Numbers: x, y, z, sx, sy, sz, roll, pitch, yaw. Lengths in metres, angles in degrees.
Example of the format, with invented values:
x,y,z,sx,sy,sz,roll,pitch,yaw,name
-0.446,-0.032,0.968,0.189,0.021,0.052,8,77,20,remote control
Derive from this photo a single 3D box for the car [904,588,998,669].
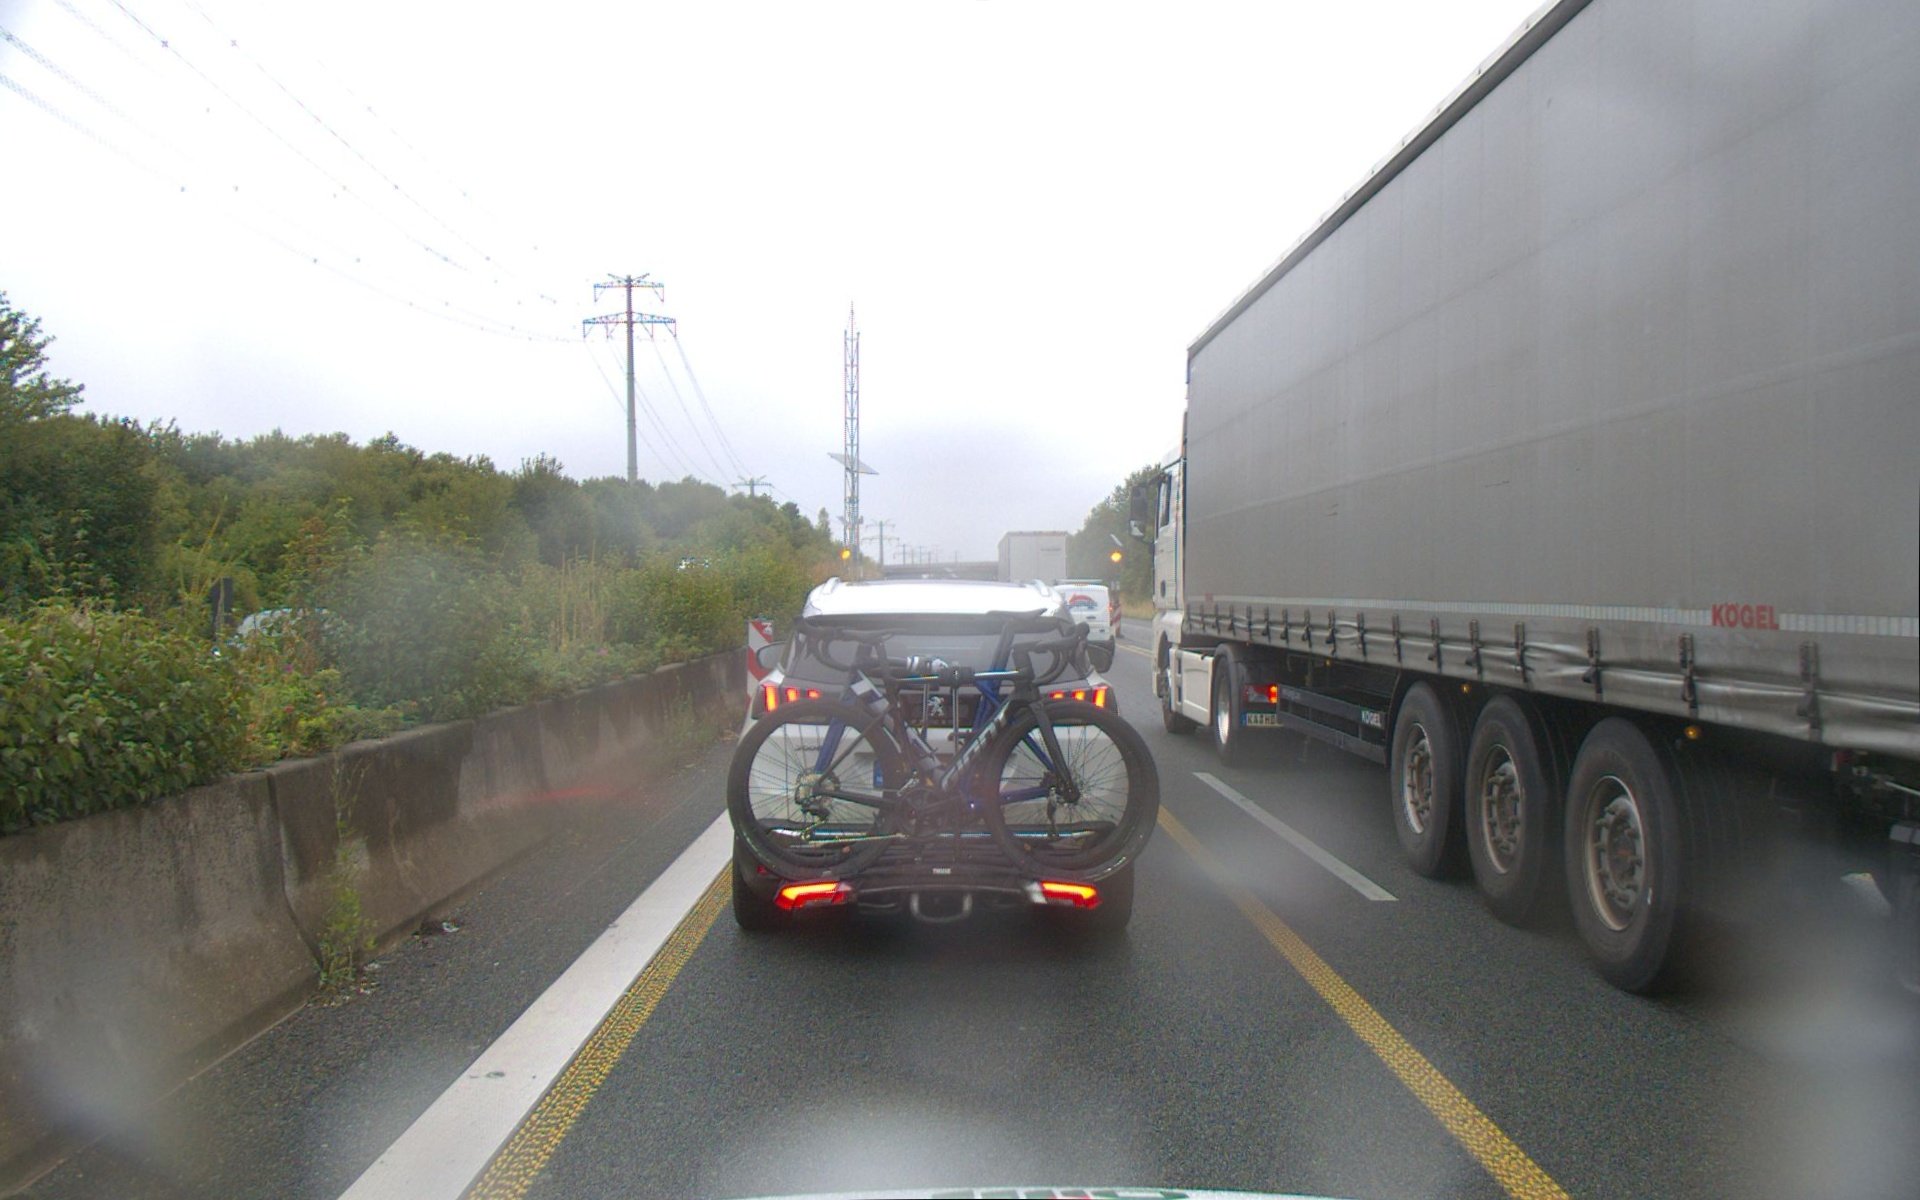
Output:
x,y,z,sx,sy,sz,roll,pitch,yaw,name
-0.193,0.538,34.001,1.812,1.557,3.999,0,0,-1,car

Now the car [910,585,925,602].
x,y,z,sx,sy,sz,roll,pitch,yaw,name
-5.282,-0.807,205.648,1.892,2.008,4.000,0,1,-1,car

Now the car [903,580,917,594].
x,y,z,sx,sy,sz,roll,pitch,yaw,name
-7.149,-1.892,236.313,1.892,2.008,4.000,0,1,-1,car

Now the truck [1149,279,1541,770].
x,y,z,sx,sy,sz,roll,pitch,yaw,name
3.642,-0.660,17.075,2.651,4.211,5.689,0,0,-1,truck

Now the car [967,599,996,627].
x,y,z,sx,sy,sz,roll,pitch,yaw,name
1.584,0.970,125.115,2.067,2.008,4.000,0,1,-1,car

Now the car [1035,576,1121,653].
x,y,z,sx,sy,sz,roll,pitch,yaw,name
2.978,0.344,42.609,1.792,1.871,4.654,0,0,-1,car

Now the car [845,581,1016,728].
x,y,z,sx,sy,sz,roll,pitch,yaw,name
-0.337,0.573,19.598,1.812,1.557,3.999,0,0,-1,car

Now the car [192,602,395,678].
x,y,z,sx,sy,sz,roll,pitch,yaw,name
-11.469,0.649,28.771,1.953,1.212,3.999,0,0,-1,car

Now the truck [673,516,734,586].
x,y,z,sx,sy,sz,roll,pitch,yaw,name
-16.280,-3.057,105.547,2.730,4.093,7.231,-3,0,-1,truck

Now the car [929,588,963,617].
x,y,z,sx,sy,sz,roll,pitch,yaw,name
-0.782,0.145,91.447,1.812,1.557,3.999,0,0,-1,car

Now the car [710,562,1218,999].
x,y,z,sx,sy,sz,roll,pitch,yaw,name
-0.017,0.638,8.310,1.812,1.557,4.768,0,0,-1,car

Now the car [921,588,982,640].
x,y,z,sx,sy,sz,roll,pitch,yaw,name
-0.284,0.423,51.995,1.812,1.557,3.999,0,0,-1,car

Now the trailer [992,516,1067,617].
x,y,z,sx,sy,sz,roll,pitch,yaw,name
2.993,-1.416,75.196,2.638,4.148,13.631,0,0,-1,trailer

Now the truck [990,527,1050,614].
x,y,z,sx,sy,sz,roll,pitch,yaw,name
2.914,-1.413,81.989,2.606,4.148,6.538,0,0,-1,truck

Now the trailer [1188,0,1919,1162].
x,y,z,sx,sy,sz,roll,pitch,yaw,name
3.778,-0.647,10.200,2.651,4.218,13.729,0,0,-1,trailer

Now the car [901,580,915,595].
x,y,z,sx,sy,sz,roll,pitch,yaw,name
-7.037,-1.644,223.506,1.892,1.944,4.000,0,1,-1,car
